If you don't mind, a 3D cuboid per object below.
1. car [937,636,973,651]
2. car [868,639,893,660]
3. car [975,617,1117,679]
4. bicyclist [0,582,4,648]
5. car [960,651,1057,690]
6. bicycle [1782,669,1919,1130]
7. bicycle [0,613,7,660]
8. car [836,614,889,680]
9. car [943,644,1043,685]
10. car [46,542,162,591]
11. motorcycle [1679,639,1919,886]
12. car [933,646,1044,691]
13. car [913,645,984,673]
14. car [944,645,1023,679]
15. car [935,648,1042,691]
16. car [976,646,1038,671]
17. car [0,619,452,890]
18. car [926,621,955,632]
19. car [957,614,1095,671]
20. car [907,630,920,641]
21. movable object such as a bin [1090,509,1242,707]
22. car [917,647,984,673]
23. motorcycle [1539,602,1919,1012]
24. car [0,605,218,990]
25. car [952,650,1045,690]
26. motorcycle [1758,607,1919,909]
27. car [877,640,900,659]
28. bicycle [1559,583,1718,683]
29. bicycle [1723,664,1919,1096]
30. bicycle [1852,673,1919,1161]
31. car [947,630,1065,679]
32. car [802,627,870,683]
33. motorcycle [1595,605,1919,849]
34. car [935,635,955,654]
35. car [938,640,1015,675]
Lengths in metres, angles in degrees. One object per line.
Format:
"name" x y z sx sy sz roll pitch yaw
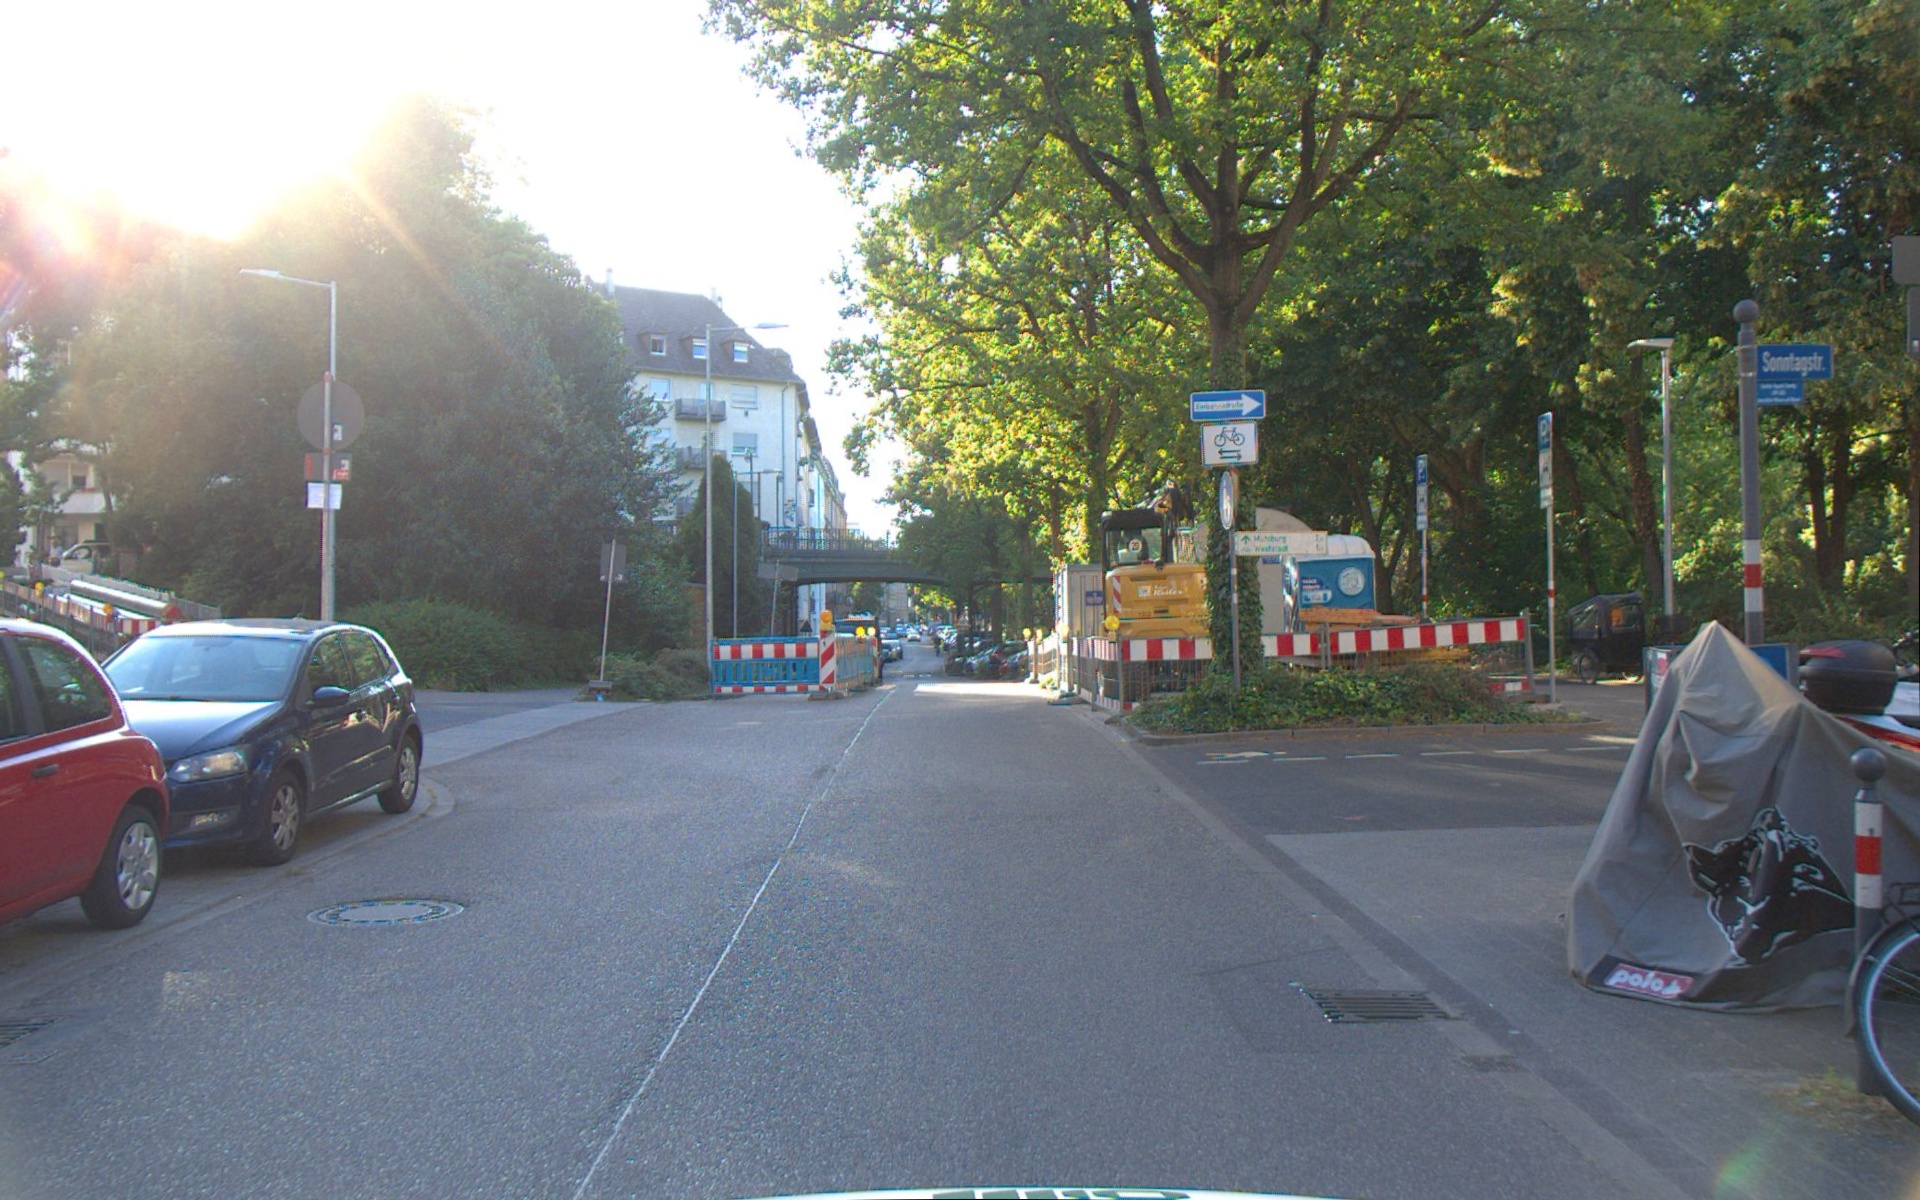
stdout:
"car" -0.576 5.169 196.164 4.298 1.638 1.780 1 -3 -1
"car" -5.918 3.720 123.802 1.776 1.422 3.973 -2 -3 -2
"car" 2.928 1.671 56.590 4.648 2.032 1.914 1 -3 -5
"bicyclist" -21.085 0.312 35.593 0.797 1.407 0.973 1 0 -36
"car" 2.217 3.277 76.509 4.300 1.732 1.915 1 -3 -4
"bicycle" 3.401 0.837 4.877 1.887 1.268 0.302 0 0 -7
"bicycle" -21.076 0.769 35.584 0.797 0.985 2.081 1 0 -36
"car" -3.933 1.955 66.828 2.006 2.541 5.692 1 -3 -3
"car" 1.430 2.862 73.396 4.300 1.732 1.915 1 -3 -4
"car" -37.322 -1.446 72.209 4.310 2.049 1.921 0 0 -23
"motorcycle" 5.057 0.815 8.620 2.234 1.200 0.972 -1 -1 12
"car" 1.098 2.733 65.813 4.300 1.732 1.915 1 -3 -4
"car" -0.706 3.646 102.592 4.300 1.638 1.779 1 -3 -4
"car" 1.296 3.475 92.150 4.300 1.816 1.915 1 -3 -4
"car" 1.150 2.900 68.704 4.300 1.732 1.915 1 -3 -4
"car" 3.266 4.123 116.281 4.298 1.638 1.780 1 -3 -1
"car" -4.883 0.890 11.311 1.635 1.483 3.999 0 0 -1
"car" -2.847 3.981 247.067 4.298 1.638 1.780 1 -3 -1
"car" 2.101 1.381 53.311 4.300 1.732 1.915 1 -3 -4
"car" -6.586 4.952 232.336 1.776 1.422 3.973 -2 -3 -2
"movable object such as a bin" 3.124 0.130 24.617 1.951 2.747 3.113 -1 -1 12
"car" -0.634 3.939 108.214 4.300 1.638 1.779 1 -3 -4
"motorcycle" 3.295 0.728 6.373 1.894 1.437 0.940 -1 0 27
"car" -4.713 0.806 6.862 1.636 1.557 3.997 0 0 -3
"car" 1.834 3.365 79.324 4.300 1.816 1.915 1 -3 -4
"motorcycle" 5.012 0.710 7.685 2.234 1.365 0.657 -1 -1 11
"car" -5.771 4.031 133.703 1.776 1.422 3.973 -2 -3 -2
"bicycle" 9.516 0.437 23.296 1.006 1.308 2.140 -2 0 -13
"bicycle" 3.371 0.837 5.191 1.887 1.268 0.302 0 0 -7
"bicycle" 3.438 0.831 4.558 1.887 1.268 0.302 0 0 -7
"car" 1.708 2.063 62.182 4.300 1.732 1.915 1 -3 -4
"car" -3.464 1.586 46.837 1.681 1.443 4.104 -2 -3 -2
"motorcycle" 5.156 0.716 9.991 2.322 1.365 0.938 0 -1 -11
"car" -1.343 3.960 146.121 1.739 1.638 4.400 0 -2 -1
"car" 0.929 3.292 94.231 4.300 1.894 1.915 1 -3 -4
